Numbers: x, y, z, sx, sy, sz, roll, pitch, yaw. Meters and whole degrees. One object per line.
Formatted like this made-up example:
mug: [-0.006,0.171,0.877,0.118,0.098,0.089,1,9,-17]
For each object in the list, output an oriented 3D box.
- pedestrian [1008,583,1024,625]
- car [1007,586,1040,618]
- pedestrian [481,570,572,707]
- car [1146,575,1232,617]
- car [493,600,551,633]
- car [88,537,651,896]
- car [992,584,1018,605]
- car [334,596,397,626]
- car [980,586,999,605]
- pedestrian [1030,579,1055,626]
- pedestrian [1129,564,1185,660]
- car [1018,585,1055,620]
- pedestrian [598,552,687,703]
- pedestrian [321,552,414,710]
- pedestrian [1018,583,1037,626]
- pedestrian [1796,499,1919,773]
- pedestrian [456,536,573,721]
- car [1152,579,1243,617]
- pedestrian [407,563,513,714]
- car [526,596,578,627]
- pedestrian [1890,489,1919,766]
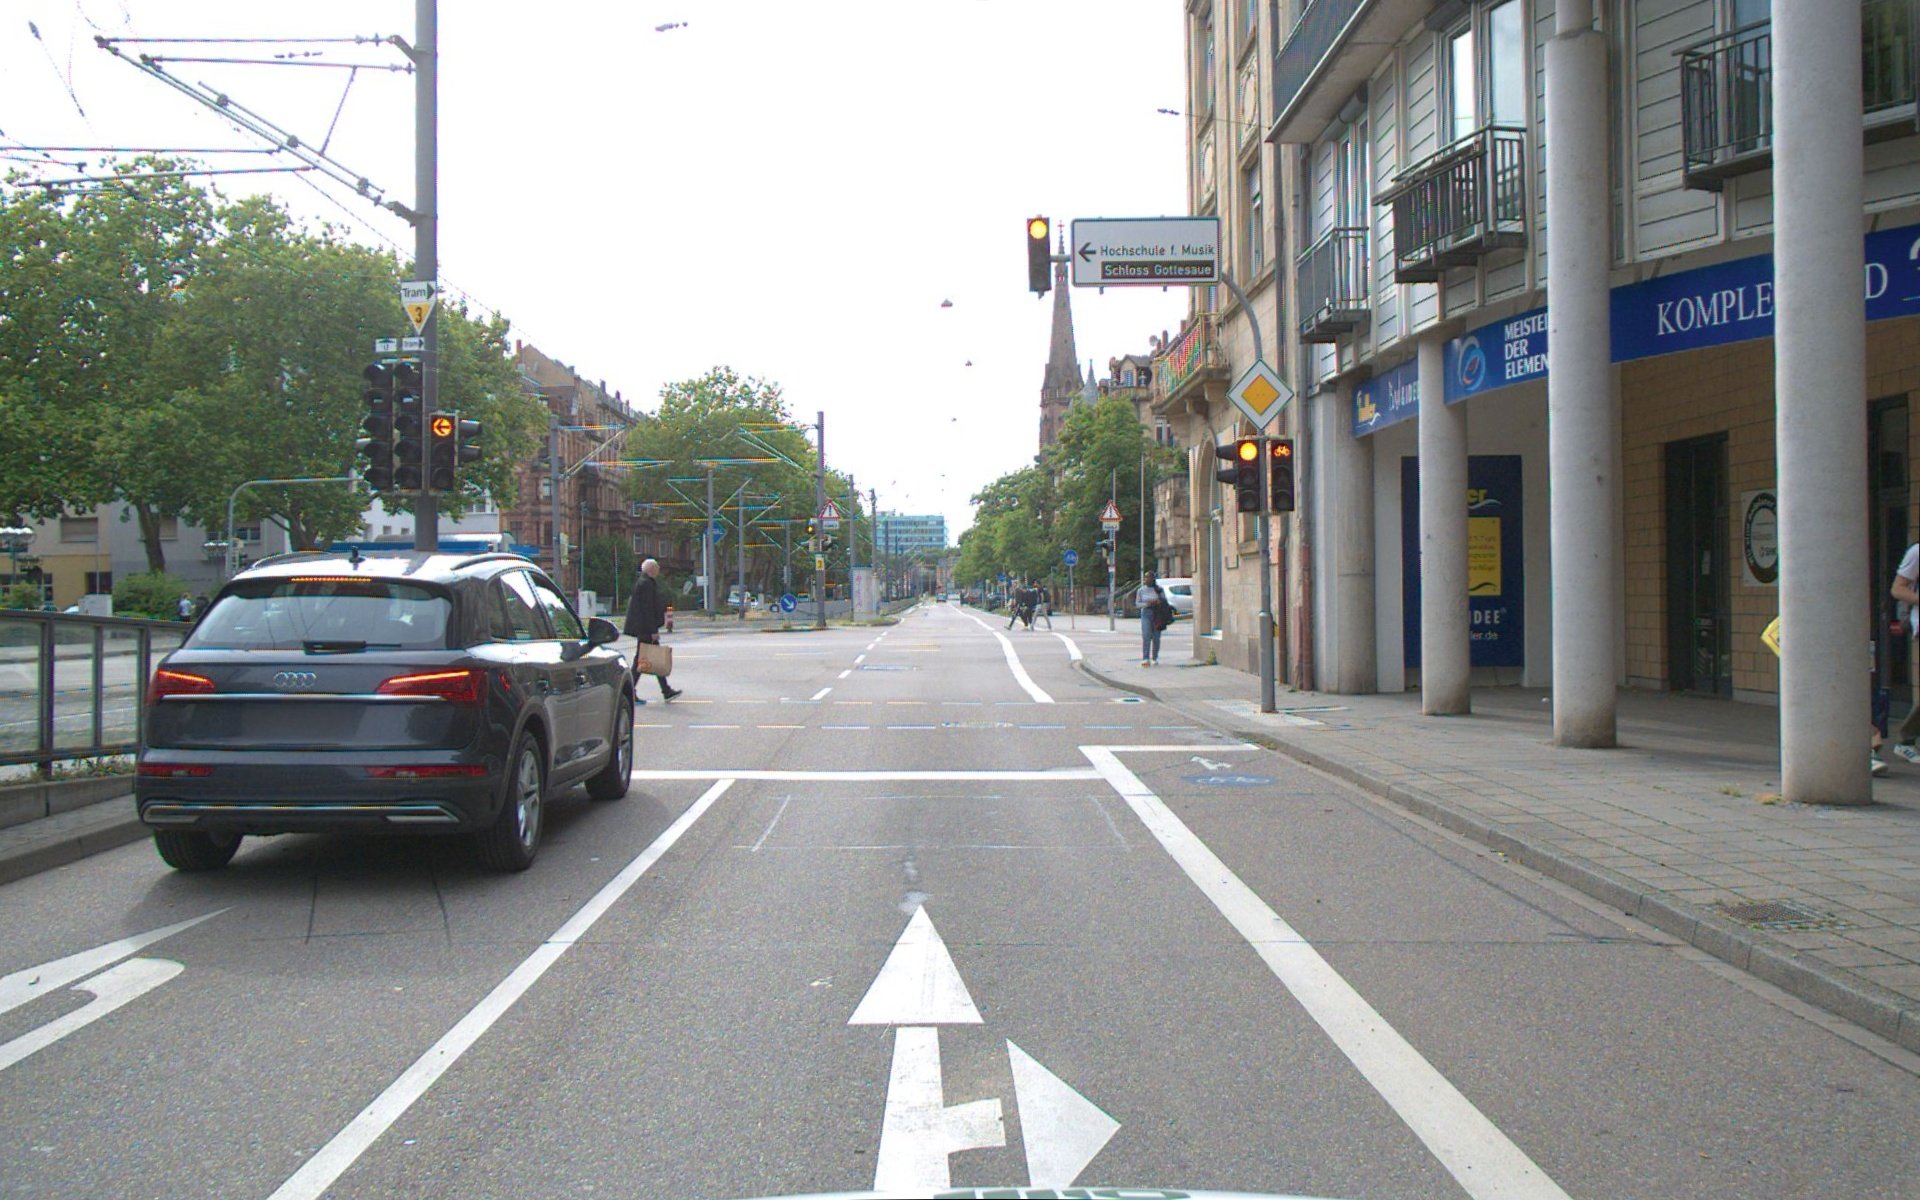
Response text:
pedestrian: [2.090,0.152,61.445,0.535,1.564,0.465,0,0,-5]
car: [4.152,0.122,108.621,1.953,2.049,3.999,0,0,-1]
pedestrian: [-5.269,0.457,20.113,0.689,1.621,0.828,0,0,36]
car: [10.706,-0.192,77.366,3.721,1.937,2.000,1,0,-1]
car: [-21.410,0.792,80.904,1.856,1.585,3.835,0,0,-1]
car: [-3.092,0.521,9.712,1.842,1.629,4.356,0,0,-2]
car: [3.698,-0.427,137.429,1.953,1.635,4.163,-2,0,-1]
car: [-31.930,0.590,88.908,1.953,1.557,3.999,0,0,-1]
car: [3.251,-0.482,181.371,1.953,2.049,3.999,0,0,-1]
pedestrian: [2.966,0.094,59.387,0.834,1.683,0.508,0,0,-3]
pedestrian: [3.589,0.206,30.052,0.659,1.709,0.865,0,0,38]
car: [4.571,0.143,99.245,1.953,2.049,3.999,0,0,-1]
pedestrian: [-3.924,0.325,20.436,0.900,1.815,0.645,0,0,37]
pedestrian: [-7.084,0.366,19.772,0.998,1.845,0.580,1,0,-24]
pedestrian: [2.476,0.170,60.944,0.640,1.564,0.465,0,0,-5]
pedestrian: [6.339,0.240,11.532,0.603,1.837,0.737,-1,0,0]
pedestrian: [-4.504,0.278,16.708,1.113,1.810,0.625,0,-1,-18]
car: [10.595,-0.083,73.953,3.721,1.629,2.000,1,0,-1]
pedestrian: [-5.770,0.430,19.107,0.615,1.681,0.993,0,0,35]
car: [-21.641,0.607,87.806,1.856,1.585,3.835,0,0,-1]
pedestrian: [6.993,0.184,11.441,0.661,1.923,0.737,-1,0,0]
